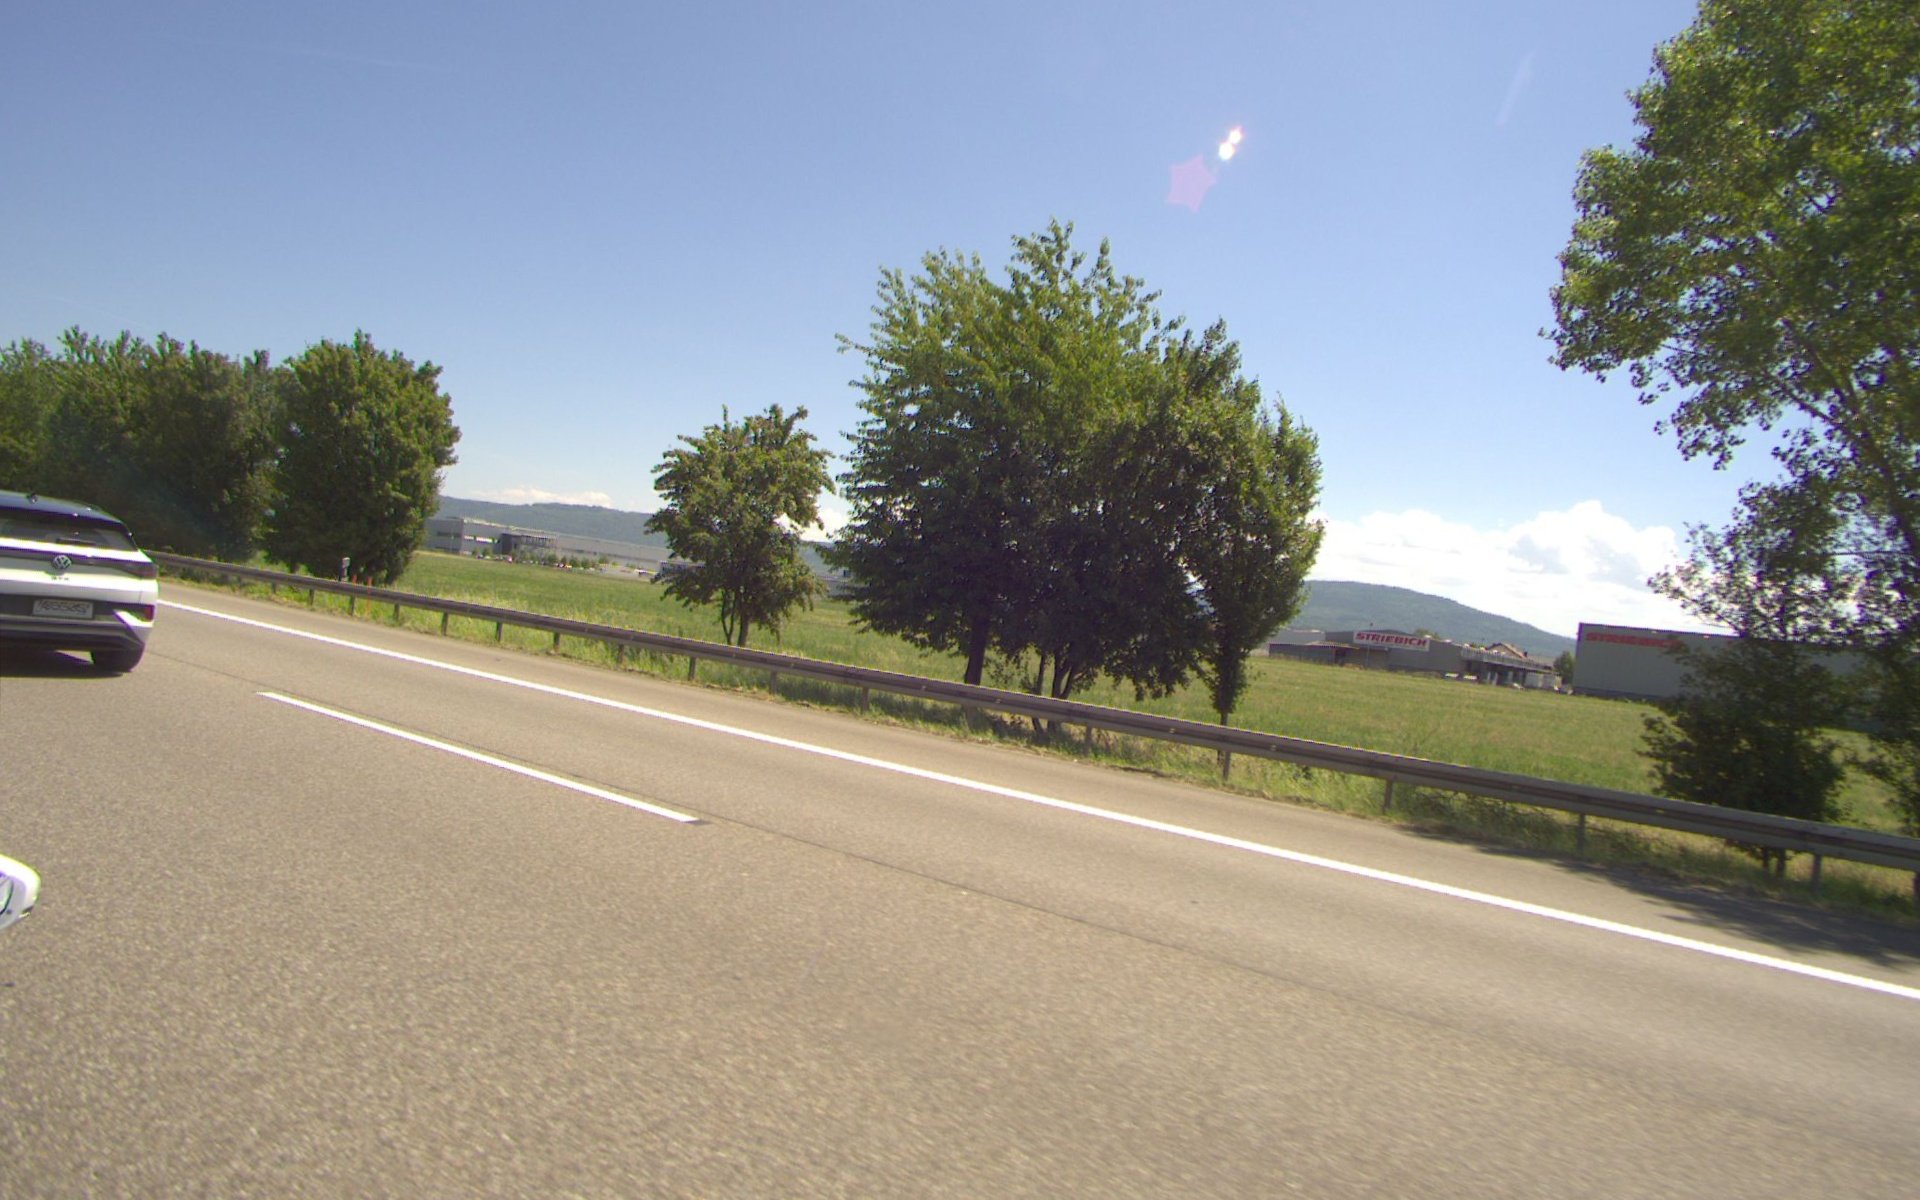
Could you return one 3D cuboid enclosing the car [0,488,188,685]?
[{"bbox_3d":[-9.748,-0.295,9.946,4.308,1.621,1.806,7,-2,31],"label":"car"}]

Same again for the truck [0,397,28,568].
[{"bbox_3d":[-30.941,-3.786,28.048,15.255,4.187,3.115,7,-2,32],"label":"truck"}]
